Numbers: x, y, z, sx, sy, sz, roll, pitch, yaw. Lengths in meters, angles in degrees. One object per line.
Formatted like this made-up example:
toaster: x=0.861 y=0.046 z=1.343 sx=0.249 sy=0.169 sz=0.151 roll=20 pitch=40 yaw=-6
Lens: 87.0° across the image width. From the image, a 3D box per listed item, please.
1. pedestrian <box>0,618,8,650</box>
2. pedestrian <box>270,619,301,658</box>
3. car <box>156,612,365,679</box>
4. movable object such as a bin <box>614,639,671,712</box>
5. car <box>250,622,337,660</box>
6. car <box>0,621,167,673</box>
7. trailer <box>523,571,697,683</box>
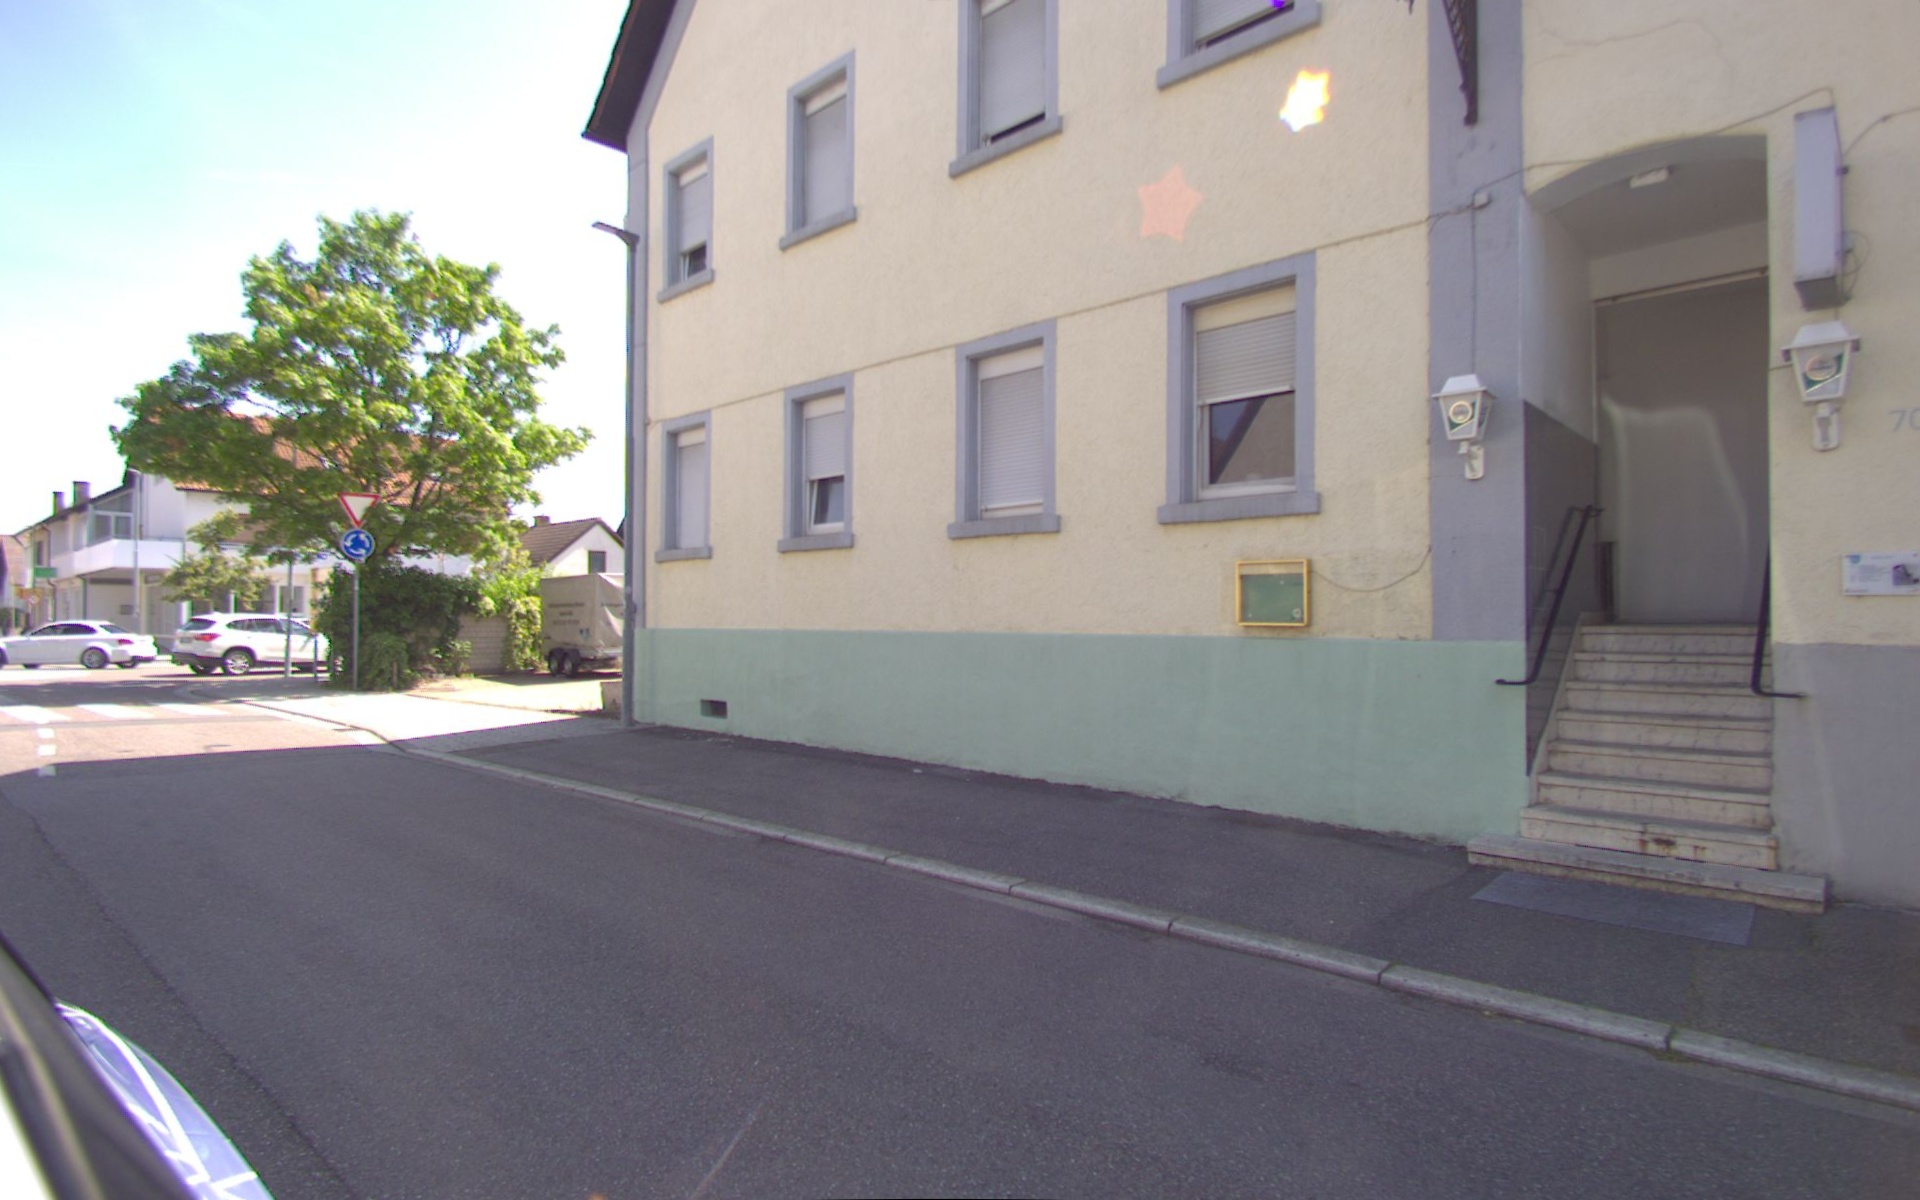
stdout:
pedestrian: x=-53.989 y=1.918 z=56.899 sx=0.693 sy=1.803 sz=0.571 roll=-1 pitch=0 yaw=42
pedestrian: x=-28.871 y=1.630 z=43.335 sx=0.757 sy=1.595 sz=0.943 roll=-1 pitch=0 yaw=42
car: x=-18.813 y=1.166 z=27.425 sx=1.838 sy=1.658 sz=4.331 roll=-2 pitch=-2 yaw=29
movable object such as a bin: x=-4.906 y=1.154 z=15.641 sx=0.658 sy=1.087 sz=0.593 roll=-2 pitch=-2 yaw=44
car: x=-27.277 y=1.627 z=41.365 sx=4.476 sy=1.462 sz=1.811 roll=-1 pitch=-1 yaw=41
car: x=-26.548 y=1.379 z=30.086 sx=4.261 sy=1.460 sz=1.886 roll=1 pitch=-2 yaw=-14
trailer: x=-8.173 y=0.593 z=23.397 sx=4.523 sy=2.353 sz=1.859 roll=-2 pitch=-1 yaw=42
